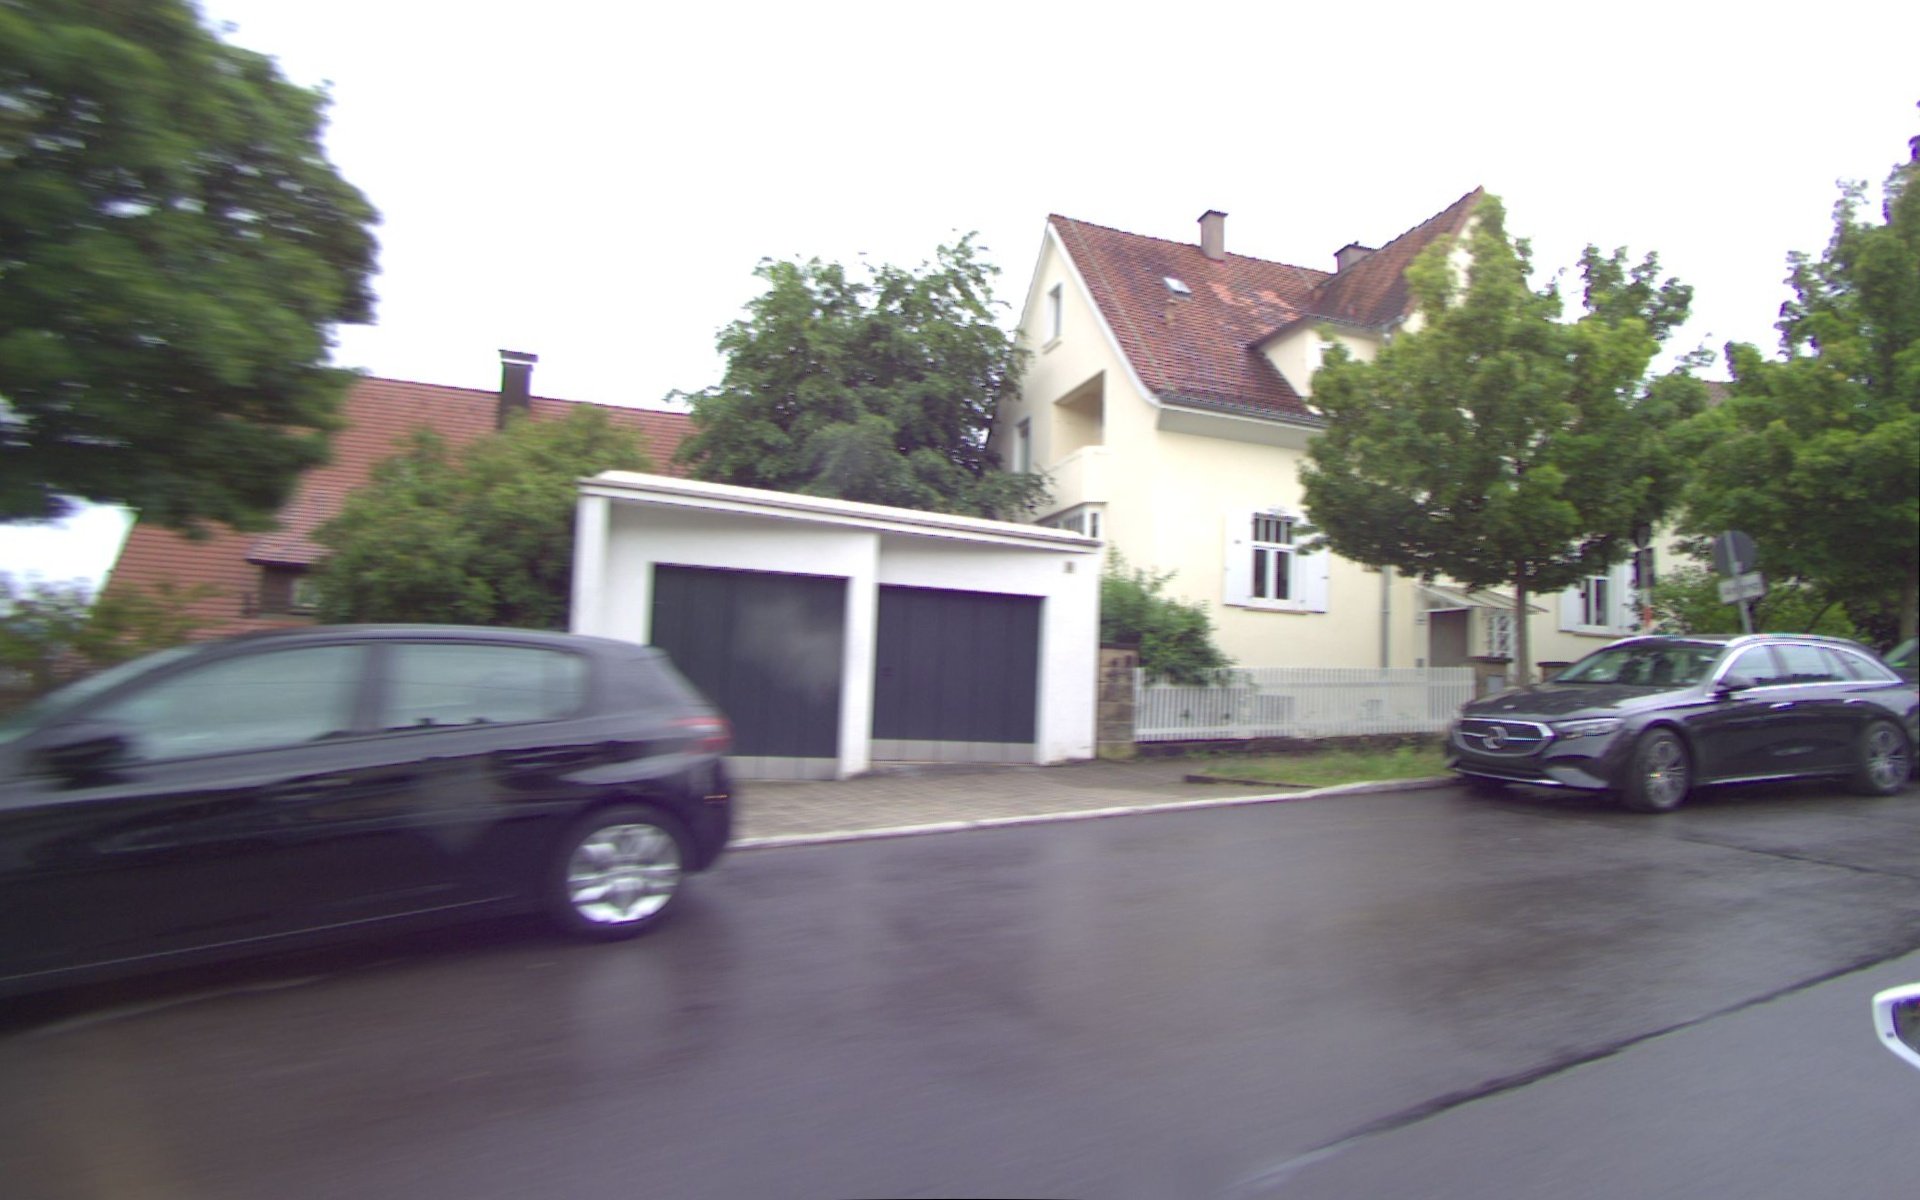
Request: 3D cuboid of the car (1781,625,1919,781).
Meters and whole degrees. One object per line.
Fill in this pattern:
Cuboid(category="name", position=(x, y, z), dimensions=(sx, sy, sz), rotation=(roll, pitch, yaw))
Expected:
Cuboid(category="car", position=(11.508, 1.088, 11.120), dimensions=(4.142, 1.565, 1.733), rotation=(1, -2, -17))

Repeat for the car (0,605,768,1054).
Cuboid(category="car", position=(-2.987, 0.824, 4.545), dimensions=(3.859, 1.485, 1.658), rotation=(2, -4, -37))

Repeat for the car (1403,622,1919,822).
Cuboid(category="car", position=(6.826, 1.034, 9.569), dimensions=(4.830, 1.565, 1.865), rotation=(1, -2, -20))
